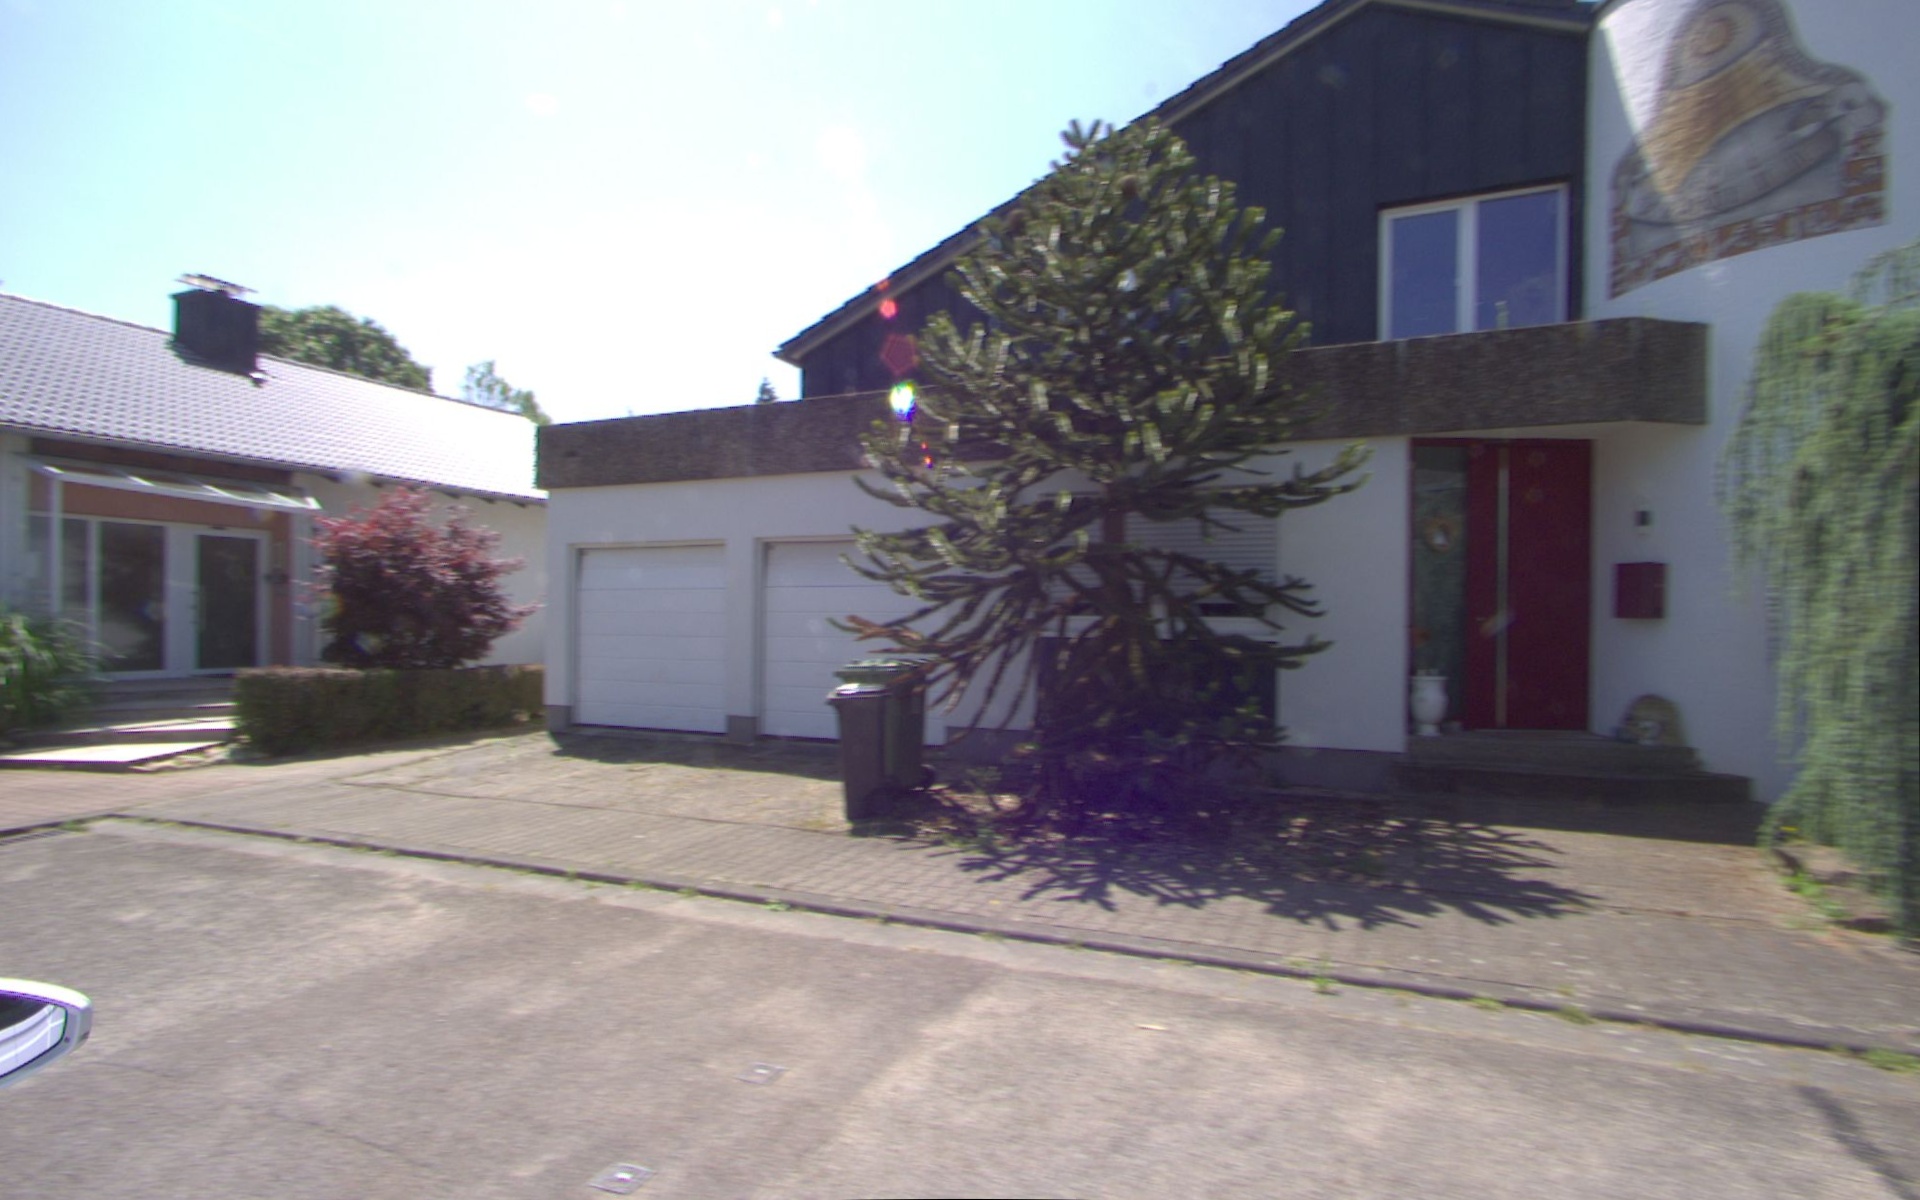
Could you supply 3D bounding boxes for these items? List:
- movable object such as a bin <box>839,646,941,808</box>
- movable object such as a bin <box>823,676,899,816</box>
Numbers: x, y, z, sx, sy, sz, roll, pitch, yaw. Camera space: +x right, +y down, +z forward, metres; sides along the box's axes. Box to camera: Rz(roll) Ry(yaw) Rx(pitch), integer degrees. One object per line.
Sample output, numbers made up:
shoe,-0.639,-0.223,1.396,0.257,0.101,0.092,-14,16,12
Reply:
movable object such as a bin,-0.561,0.989,8.065,0.623,1.219,0.550,1,-1,24
movable object such as a bin,-0.713,1.047,7.256,0.514,0.962,0.389,1,0,-2
